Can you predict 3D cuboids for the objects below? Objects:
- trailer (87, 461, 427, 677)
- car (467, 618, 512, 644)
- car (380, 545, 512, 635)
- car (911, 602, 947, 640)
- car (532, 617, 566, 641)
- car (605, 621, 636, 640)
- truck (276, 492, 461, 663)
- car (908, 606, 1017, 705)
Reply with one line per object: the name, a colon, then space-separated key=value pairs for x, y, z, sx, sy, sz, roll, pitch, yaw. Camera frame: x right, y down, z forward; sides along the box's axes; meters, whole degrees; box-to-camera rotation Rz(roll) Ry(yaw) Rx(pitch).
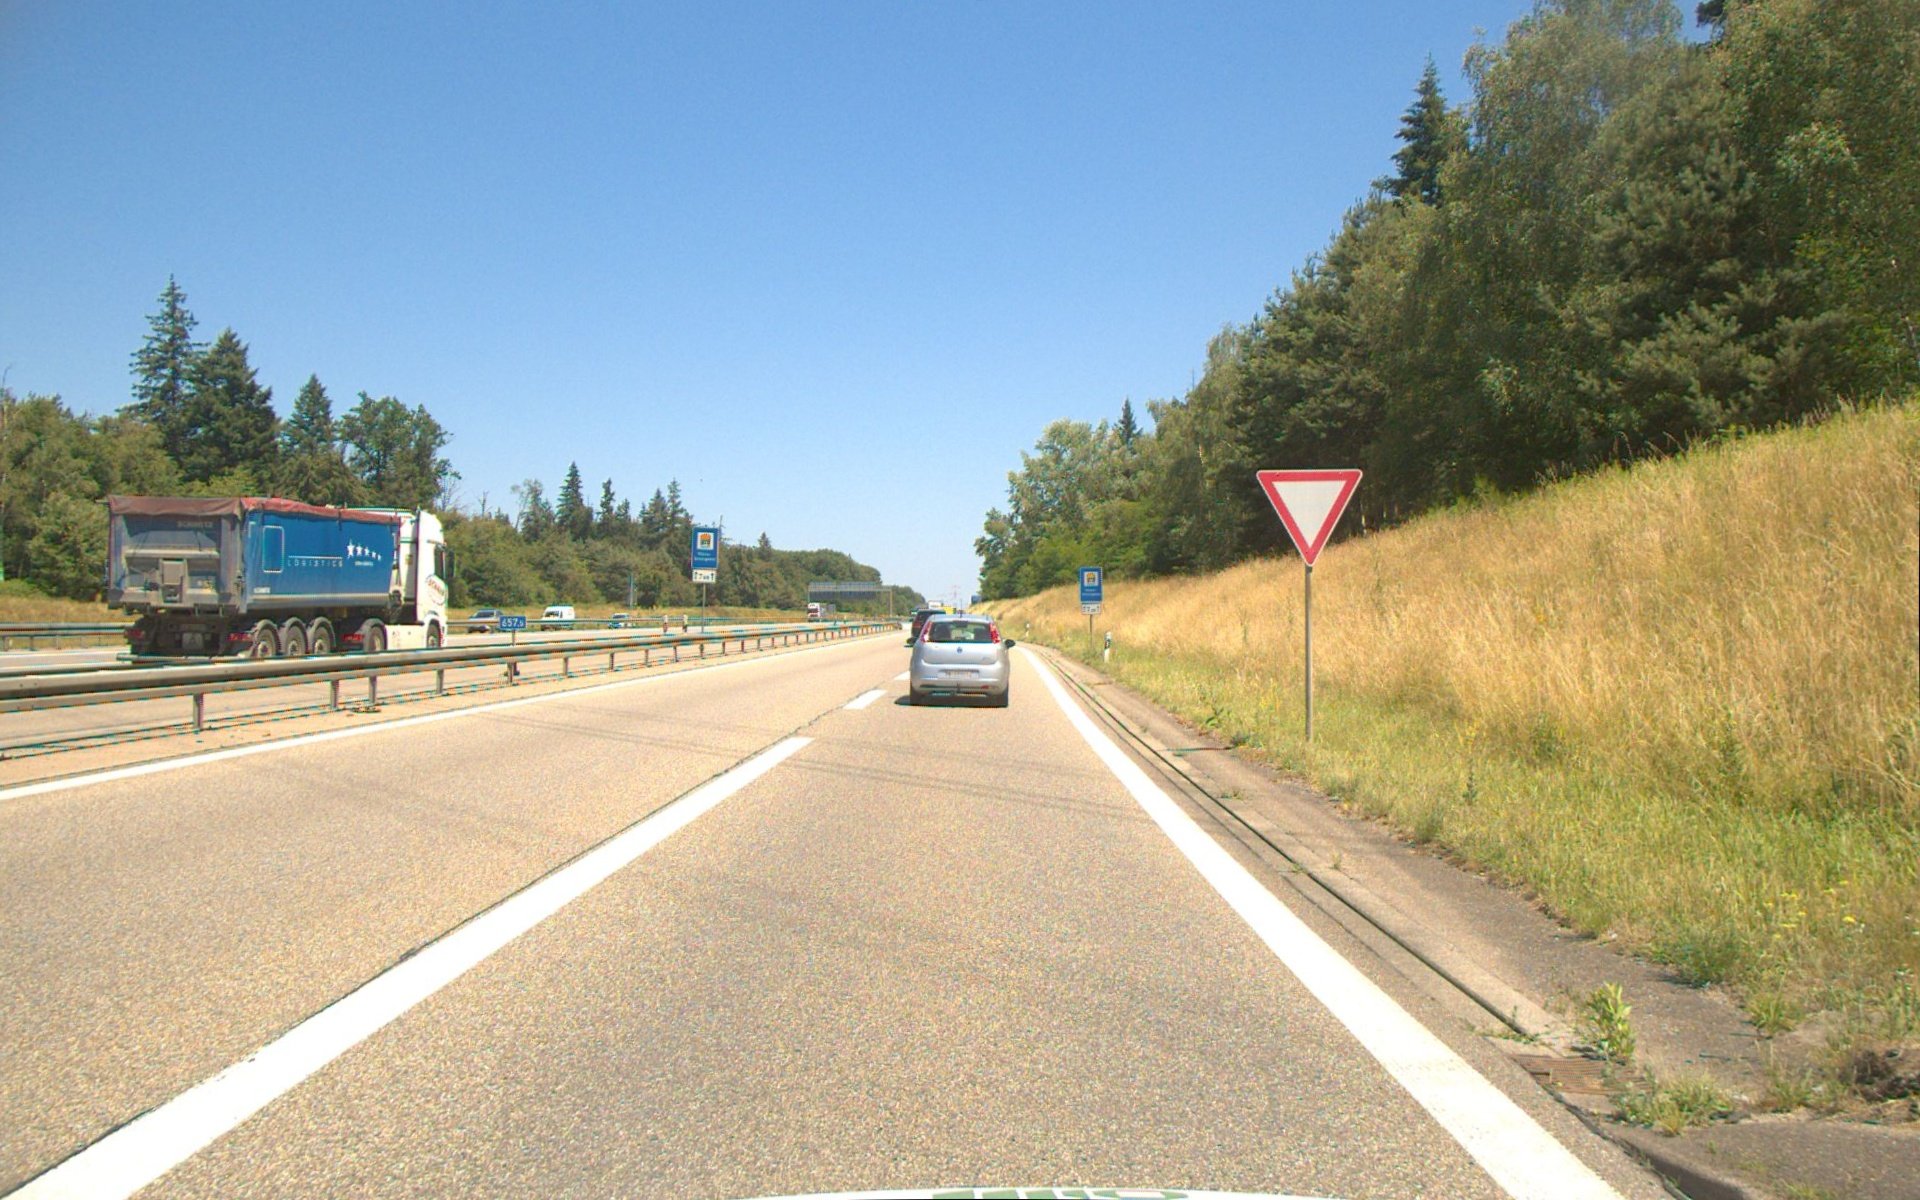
trailer: x=-14.244 y=-0.531 z=34.697 sx=2.713 sy=3.874 sz=9.886 roll=0 pitch=0 yaw=1
car: x=-32.933 y=2.177 z=115.865 sx=1.953 sy=1.814 sz=3.999 roll=0 pitch=-1 yaw=-1
car: x=-17.767 y=-0.248 z=57.596 sx=2.192 sy=2.882 sz=7.054 roll=0 pitch=-2 yaw=1
car: x=-1.470 y=1.010 z=77.290 sx=1.672 sy=1.706 sz=3.396 roll=0 pitch=-2 yaw=-2
car: x=-44.794 y=3.199 z=180.302 sx=1.953 sy=2.588 sz=6.912 roll=0 pitch=-1 yaw=0
car: x=-32.622 y=2.939 z=159.241 sx=1.952 sy=1.814 sz=4.812 roll=0 pitch=-1 yaw=0
truck: x=-14.130 y=-0.507 z=39.875 sx=2.699 sy=3.874 sz=4.622 roll=0 pitch=0 yaw=1
car: x=0.039 y=0.901 z=28.019 sx=1.671 sy=1.508 sz=3.397 roll=2 pitch=-1 yaw=0
